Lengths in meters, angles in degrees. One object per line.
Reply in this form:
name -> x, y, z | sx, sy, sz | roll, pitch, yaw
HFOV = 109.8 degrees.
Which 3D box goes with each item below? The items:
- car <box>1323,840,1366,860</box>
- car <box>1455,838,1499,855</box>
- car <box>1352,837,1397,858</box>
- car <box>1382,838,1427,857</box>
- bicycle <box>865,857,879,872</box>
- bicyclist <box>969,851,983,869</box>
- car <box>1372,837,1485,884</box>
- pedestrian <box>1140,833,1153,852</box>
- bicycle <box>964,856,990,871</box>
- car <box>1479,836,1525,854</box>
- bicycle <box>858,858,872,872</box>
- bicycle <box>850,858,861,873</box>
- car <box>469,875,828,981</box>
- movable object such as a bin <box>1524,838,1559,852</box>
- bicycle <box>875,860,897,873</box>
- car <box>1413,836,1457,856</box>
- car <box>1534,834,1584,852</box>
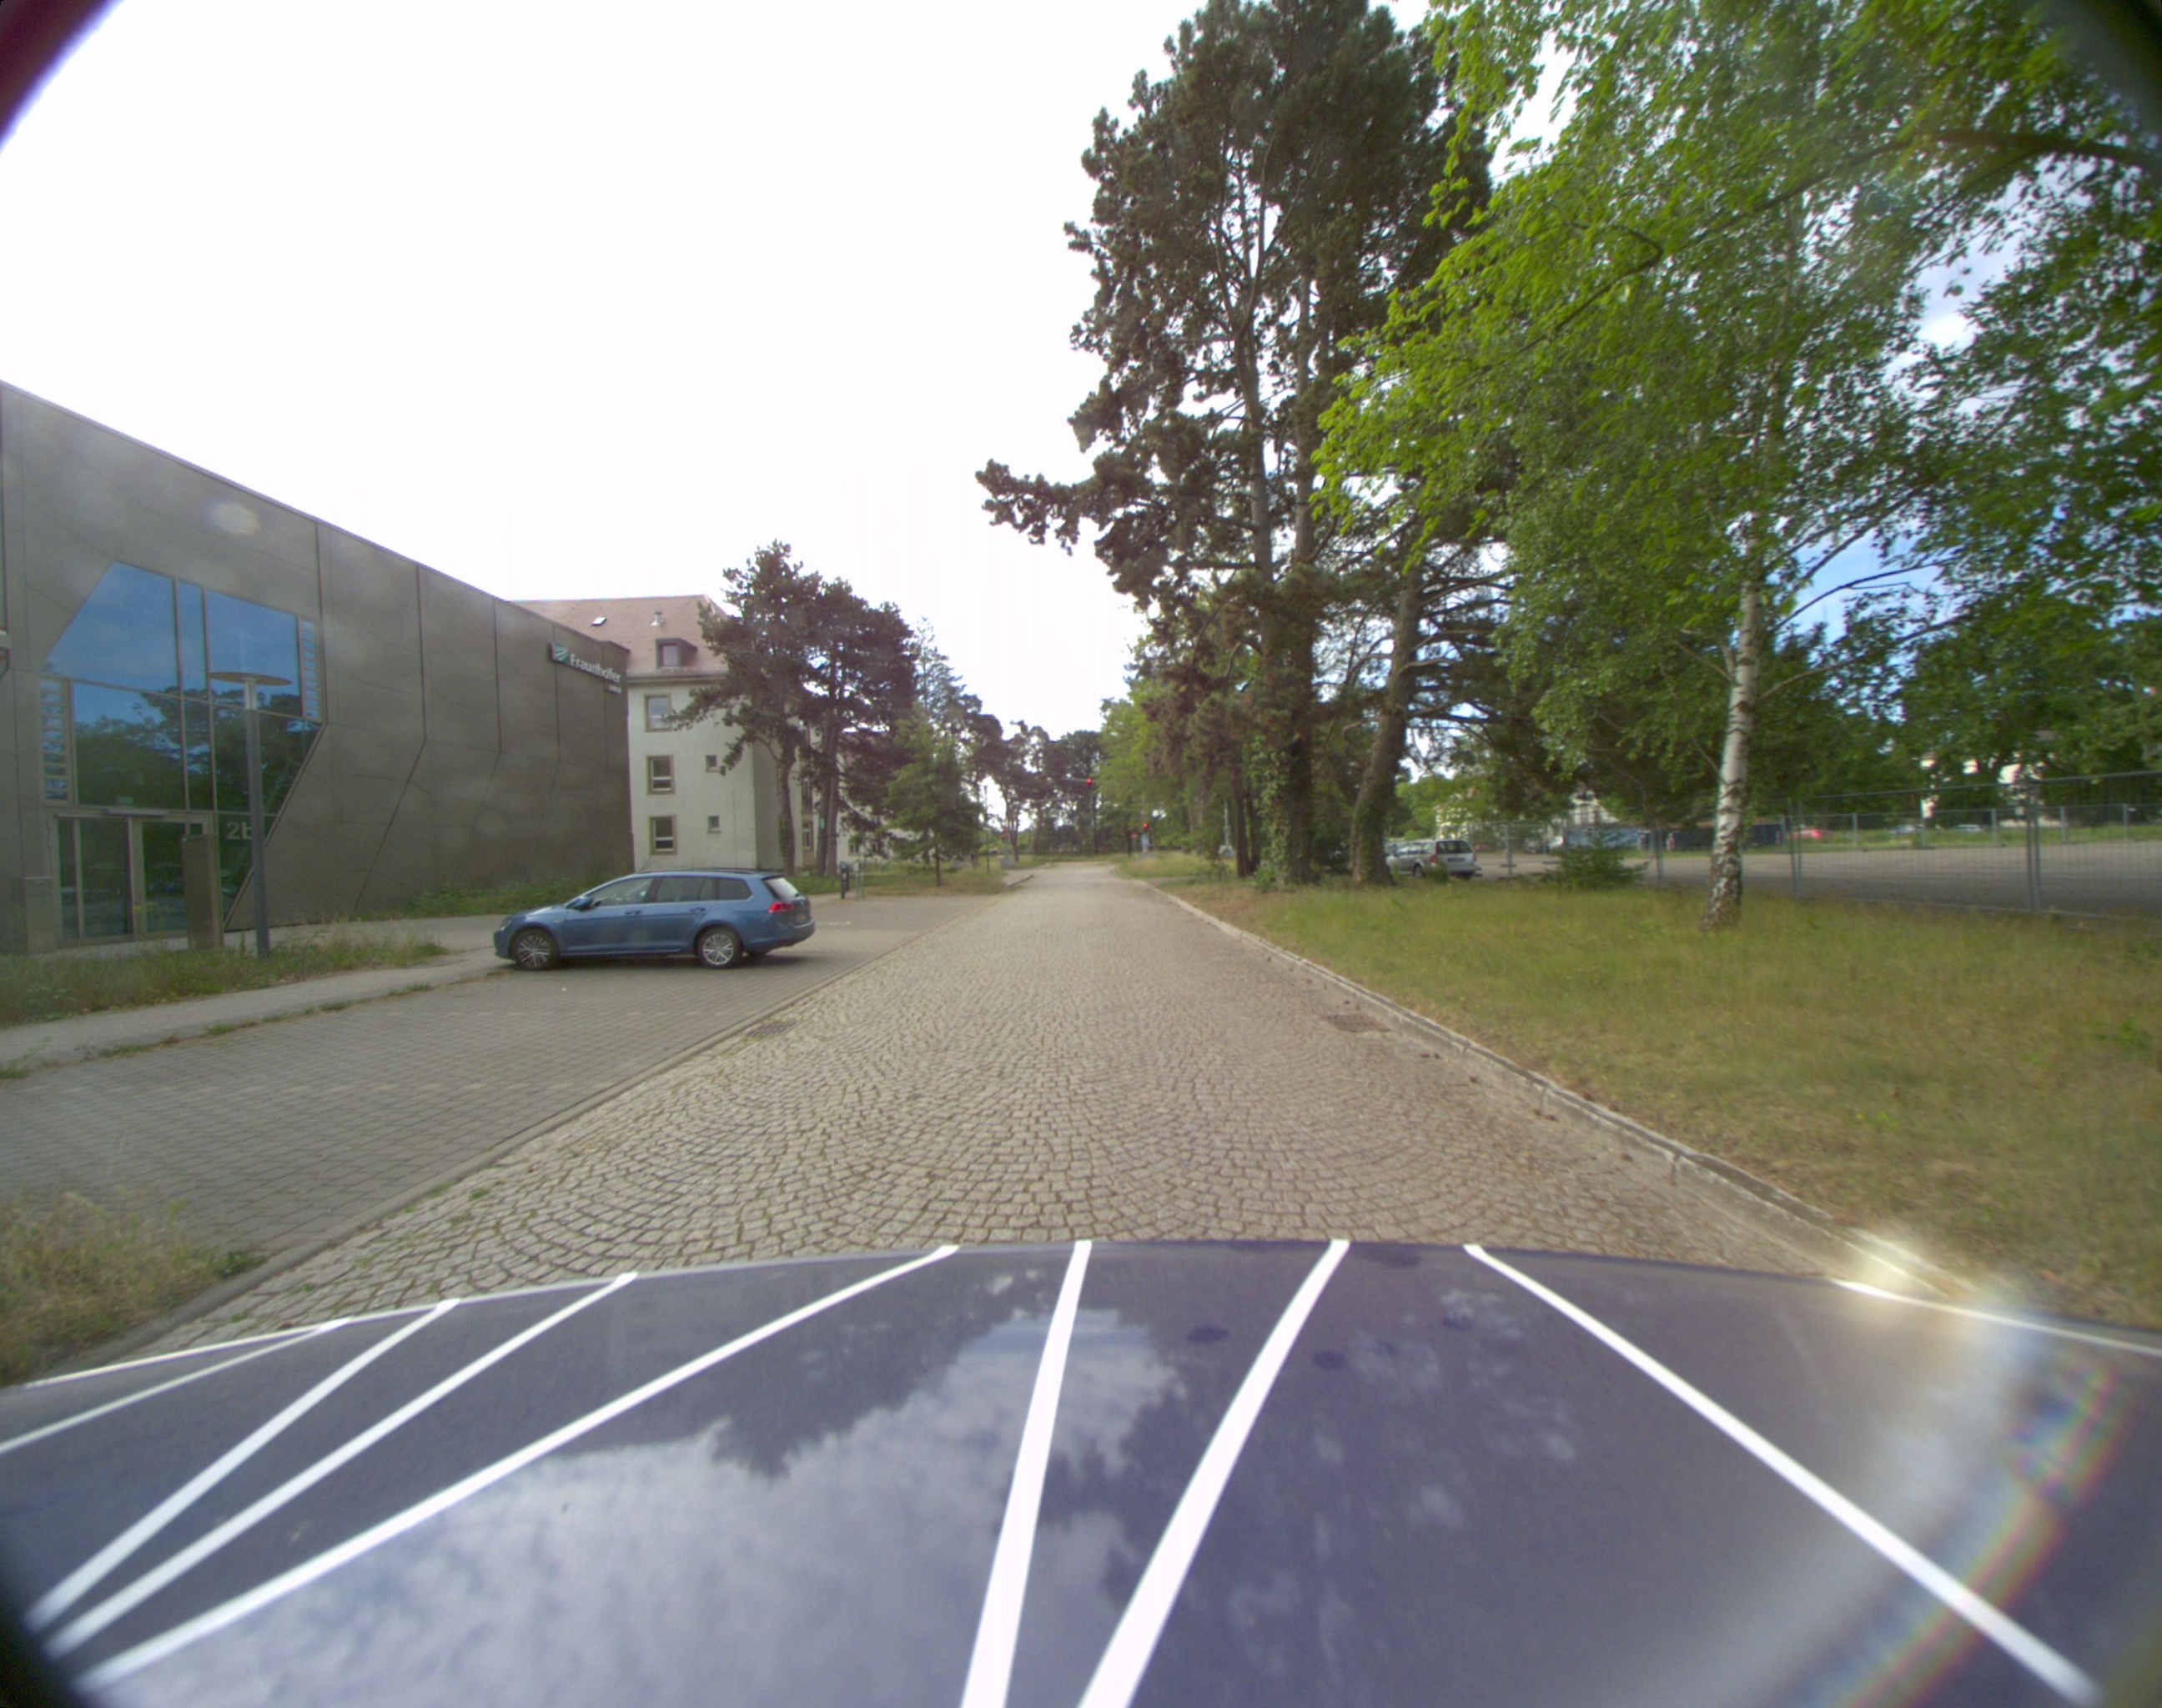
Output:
car -> 22.132, -0.326, 64.044 | 1.840, 1.441, 4.655 | -2, -1, -3
car -> 39.189, -0.730, 75.318 | 1.840, 1.512, 4.584 | -2, -1, -3
car -> 24.737, -0.518, 64.246 | 1.840, 1.568, 4.584 | -2, -1, -3
car -> 27.387, -0.505, 64.480 | 1.840, 1.460, 4.585 | -2, -1, 0
bicycle -> -19.684, 1.004, 71.686 | 0.572, 1.324, 1.839 | -2, 1, 8
bicyclist -> -9.801, 0.584, 71.090 | 0.919, 1.626, 0.962 | -3, 1, -33
car -> 11.956, 0.198, 26.515 | 1.720, 1.430, 4.465 | -2, 0, -3
pedestrian -> 5.164, -0.900, 60.021 | 0.883, 1.509, 0.822 | -2, 1, 14
bicycle -> -9.752, 0.900, 71.118 | 2.167, 1.268, 0.962 | -2, 1, -33
car -> 41.805, -0.879, 75.651 | 1.840, 1.512, 4.584 | -2, -1, -3
bicycle -> -20.311, 1.015, 71.566 | 0.572, 1.324, 1.839 | -2, 1, 8
bicycle -> -21.240, 1.069, 71.582 | 0.572, 1.324, 1.837 | -2, 1, -5
car -> -6.542, 1.091, 11.933 | 4.534, 1.435, 1.823 | 0, 1, -3
movable object such as a bin -> 31.289, -0.592, 51.675 | 1.041, 0.927, 1.934 | -1, 0, -7
bicycle -> -17.969, 1.144, 70.034 | 1.836, 1.079, 0.572 | -2, 3, 3
car -> 30.131, -0.634, 64.769 | 1.737, 1.512, 4.114 | -2, -1, 0
car -> 47.563, -1.087, 75.698 | 1.840, 1.564, 4.584 | -2, -1, -3
